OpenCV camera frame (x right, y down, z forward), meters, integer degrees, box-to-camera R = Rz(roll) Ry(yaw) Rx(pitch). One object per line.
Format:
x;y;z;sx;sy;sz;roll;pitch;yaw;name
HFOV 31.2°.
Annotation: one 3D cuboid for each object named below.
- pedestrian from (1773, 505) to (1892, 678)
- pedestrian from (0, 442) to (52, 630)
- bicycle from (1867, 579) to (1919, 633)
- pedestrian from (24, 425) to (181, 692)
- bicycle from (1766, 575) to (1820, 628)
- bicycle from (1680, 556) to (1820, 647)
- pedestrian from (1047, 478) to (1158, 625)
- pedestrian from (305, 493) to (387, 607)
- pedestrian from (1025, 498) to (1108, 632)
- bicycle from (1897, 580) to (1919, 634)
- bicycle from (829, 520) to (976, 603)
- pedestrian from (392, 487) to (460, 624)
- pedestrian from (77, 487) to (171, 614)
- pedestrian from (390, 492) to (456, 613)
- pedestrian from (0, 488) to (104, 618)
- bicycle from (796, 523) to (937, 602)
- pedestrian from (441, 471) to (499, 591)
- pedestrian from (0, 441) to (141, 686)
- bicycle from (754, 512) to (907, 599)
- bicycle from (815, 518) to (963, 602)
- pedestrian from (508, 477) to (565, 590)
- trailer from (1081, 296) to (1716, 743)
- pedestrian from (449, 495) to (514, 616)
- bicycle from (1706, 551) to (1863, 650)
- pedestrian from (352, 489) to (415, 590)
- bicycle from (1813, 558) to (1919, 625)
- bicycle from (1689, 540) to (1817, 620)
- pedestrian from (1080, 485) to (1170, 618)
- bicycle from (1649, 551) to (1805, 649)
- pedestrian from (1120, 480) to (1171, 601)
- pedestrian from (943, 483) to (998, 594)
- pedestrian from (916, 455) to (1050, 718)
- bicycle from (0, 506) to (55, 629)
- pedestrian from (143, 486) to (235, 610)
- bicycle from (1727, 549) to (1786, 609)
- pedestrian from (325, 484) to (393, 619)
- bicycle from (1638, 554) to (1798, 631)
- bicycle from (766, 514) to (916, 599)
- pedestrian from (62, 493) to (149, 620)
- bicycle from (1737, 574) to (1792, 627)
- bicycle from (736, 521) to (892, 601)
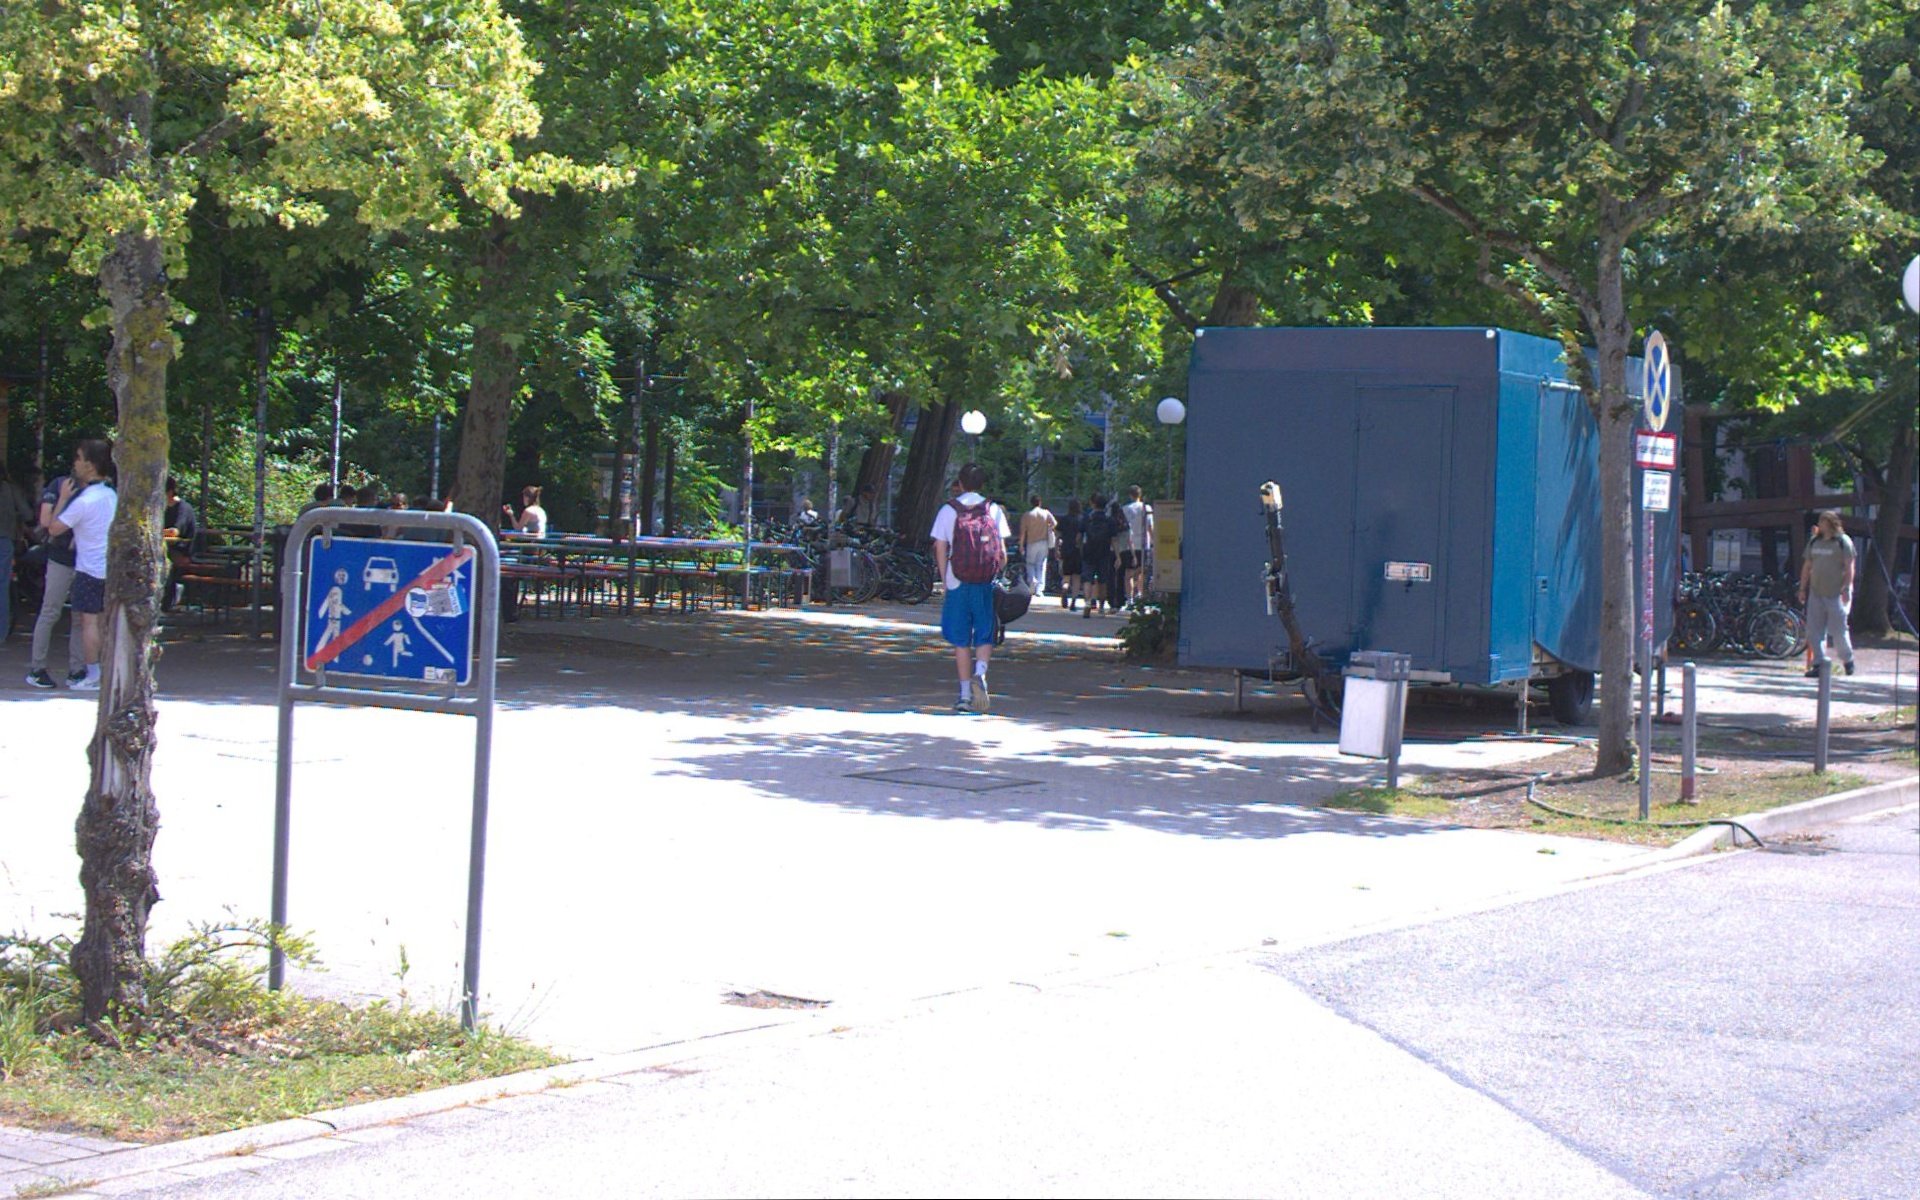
10.311;-0.098;40.640;0.920;1.947;0.890;6;3;39;pedestrian
-8.548;-0.584;30.796;0.676;1.645;0.503;3;3;-10;pedestrian
19.728;0.133;72.601;0.553;1.082;1.970;5;2;29;bicycle
-6.029;-0.287;24.187;0.877;1.814;0.449;3;-1;-33;pedestrian
17.833;0.039;73.566;0.553;1.082;1.970;5;2;29;bicycle
10.737;0.017;46.765;1.774;1.128;0.458;3;2;11;bicycle
1.996;-0.685;48.188;1.121;1.941;0.892;4;2;-24;pedestrian
-6.961;-0.569;39.006;0.569;1.246;0.766;4;2;17;pedestrian
1.617;-0.534;52.181;0.820;1.941;0.852;4;2;-24;pedestrian
20.238;0.157;72.172;0.553;1.082;1.970;5;2;29;bicycle
-0.833;-0.561;49.823;2.010;1.115;0.584;3;1;20;bicycle
-5.571;-0.469;35.881;0.593;1.364;0.743;3;3;-5;pedestrian
-8.566;-0.506;35.229;0.561;1.267;0.692;4;2;29;pedestrian
-5.715;-0.512;36.613;0.593;1.229;0.743;3;3;-5;pedestrian
-9.442;-0.489;35.712;0.689;1.318;0.777;3;1;30;pedestrian
-1.402;-0.570;51.720;2.010;1.115;0.584;3;1;20;bicycle
-6.345;-0.890;44.525;0.506;1.517;0.473;4;2;18;pedestrian
-6.472;-0.260;24.830;0.877;1.714;0.489;3;-1;-33;pedestrian
-1.797;-0.623;47.655;2.010;1.115;0.584;3;1;20;bicycle
-1.015;-0.575;49.066;2.010;1.115;0.584;3;1;20;bicycle
-5.438;-0.852;44.199;0.506;1.417;0.460;4;2;19;pedestrian
3.642;-0.615;27.068;2.701;3.016;6.256;4;2;28;trailer
-5.093;-0.478;36.621;0.593;1.229;0.743;3;3;-5;pedestrian
11.743;-0.003;49.002;2.055;1.230;0.808;5;2;11;bicycle
-6.974;-0.737;41.582;0.391;1.190;0.730;4;2;19;pedestrian
17.759;-0.168;67.111;2.014;1.249;0.587;2;1;-3;bicycle
15.452;-0.387;66.977;2.283;1.445;0.607;3;1;-4;bicycle
2.520;-0.746;52.596;0.917;1.941;0.892;4;2;-24;pedestrian
10.763;-0.004;48.317;2.055;1.230;0.808;4;2;11;bicycle
2.954;-0.945;54.672;0.588;1.897;0.517;2;1;-17;pedestrian
0.169;-0.943;52.636;0.630;1.664;0.730;3;2;11;pedestrian
0.161;-0.114;25.147;0.851;1.829;0.878;3;3;-2;pedestrian
-8.825;-0.313;30.771;1.345;1.073;0.417;3;-1;-15;bicycle
-8.088;-0.542;36.075;0.561;1.267;0.692;4;2;29;pedestrian
17.026;-0.449;73.450;0.526;1.248;2.378;3;1;30;bicycle
-6.321;-0.516;36.167;0.593;1.364;0.704;3;3;-5;pedestrian
11.193;-0.117;50.799;2.147;1.005;0.678;3;2;-1;bicycle
-1.676;-0.611;48.494;2.010;1.115;0.584;3;1;20;bicycle
-9.114;-0.462;36.673;0.646;1.318;0.558;3;1;30;pedestrian
17.285;0.012;73.841;0.553;1.082;1.970;5;2;29;bicycle
-1.988;-0.529;46.689;2.010;1.004;0.584;3;1;20;bicycle
